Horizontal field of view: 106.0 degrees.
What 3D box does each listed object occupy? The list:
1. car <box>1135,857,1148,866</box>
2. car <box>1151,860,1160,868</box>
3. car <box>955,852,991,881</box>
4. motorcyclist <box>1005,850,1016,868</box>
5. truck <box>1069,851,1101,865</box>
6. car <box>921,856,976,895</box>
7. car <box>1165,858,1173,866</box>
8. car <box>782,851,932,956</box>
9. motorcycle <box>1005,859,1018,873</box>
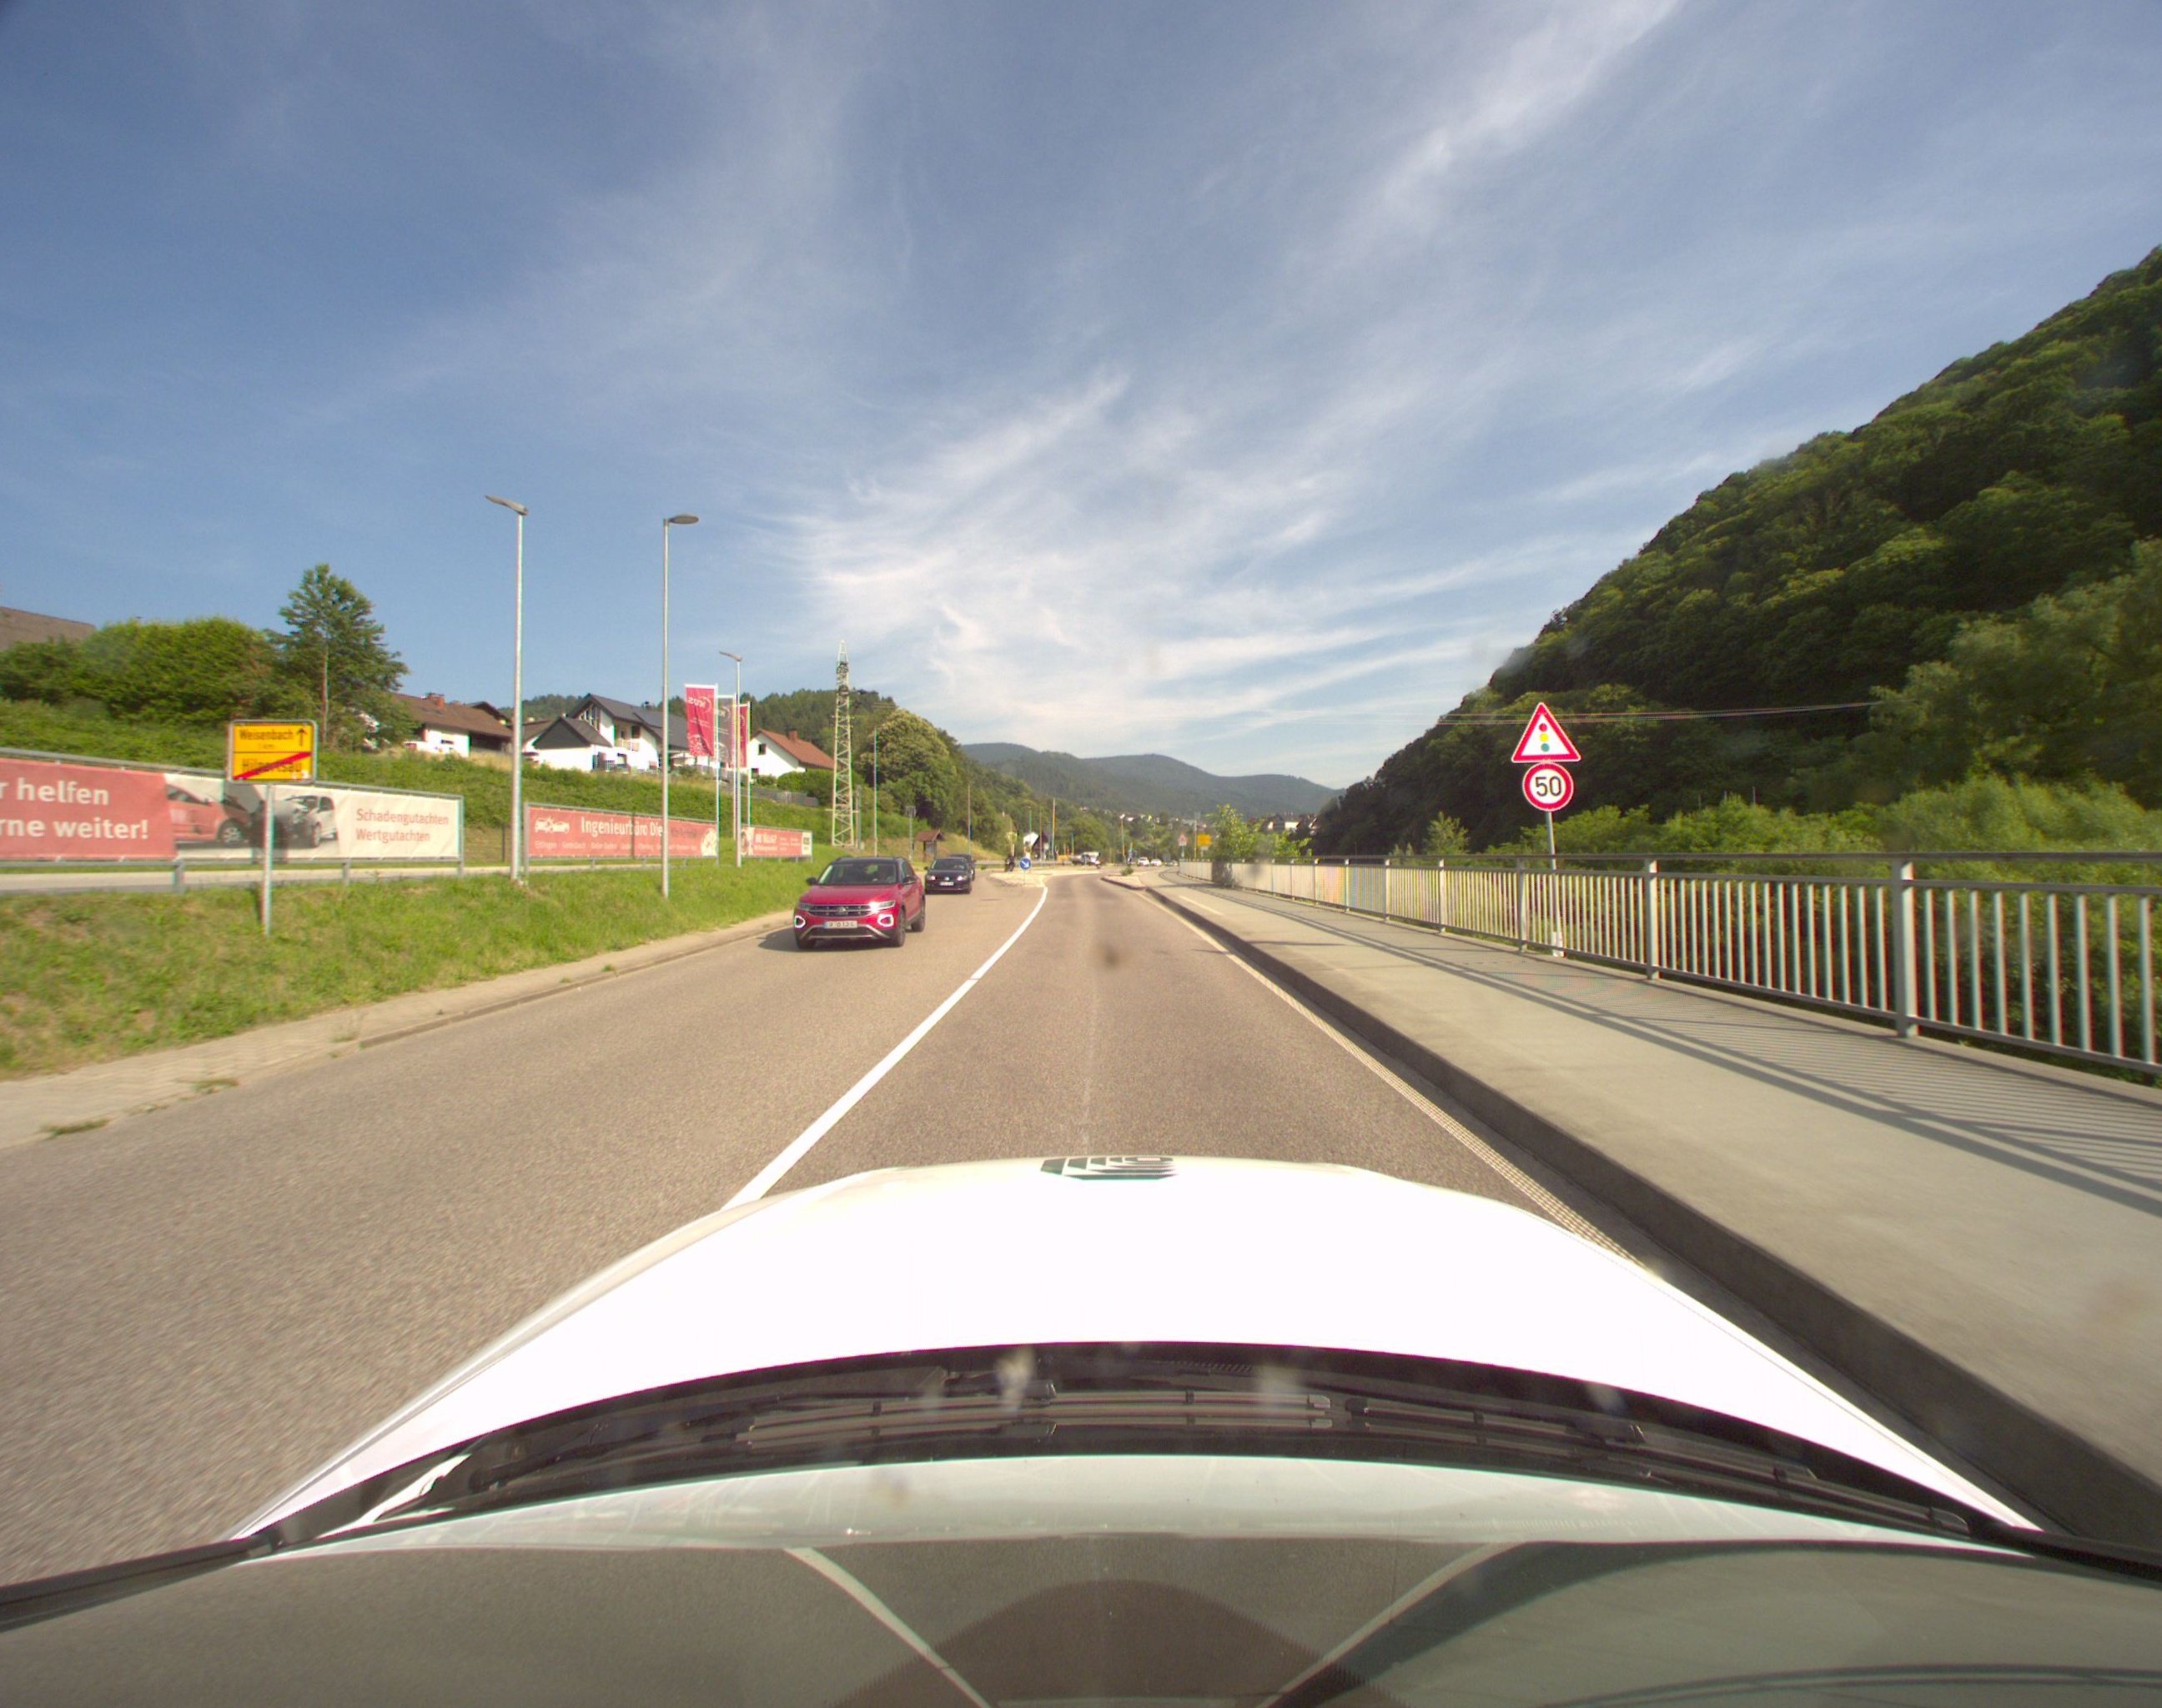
[{"bbox_3d":[11.147,1.314,149.952,1.751,1.560,4.015,-1,-2,15],"label":"car"},{"bbox_3d":[15.178,2.043,166.567,1.774,1.400,4.833,1,0,5],"label":"car"},{"bbox_3d":[-6.131,0.672,46.611,1.771,1.516,4.266,-1,0,-4],"label":"car"},{"bbox_3d":[-6.186,0.423,71.438,0.906,1.519,0.844,0,0,-12],"label":"motorcyclist"},{"bbox_3d":[0.721,0.643,145.673,5.929,2.266,2.012,2,1,45],"label":"truck"},{"bbox_3d":[-5.250,0.815,32.815,1.771,1.408,4.266,-1,0,-4],"label":"car"},{"bbox_3d":[21.639,2.078,200.040,1.747,1.522,4.215,-1,-6,11],"label":"car"},{"bbox_3d":[-3.946,0.784,15.083,1.701,1.584,4.155,-3,0,-2],"label":"car"},{"bbox_3d":[-6.083,1.002,70.898,0.895,1.183,2.297,0,0,-11],"label":"motorcycle"}]
